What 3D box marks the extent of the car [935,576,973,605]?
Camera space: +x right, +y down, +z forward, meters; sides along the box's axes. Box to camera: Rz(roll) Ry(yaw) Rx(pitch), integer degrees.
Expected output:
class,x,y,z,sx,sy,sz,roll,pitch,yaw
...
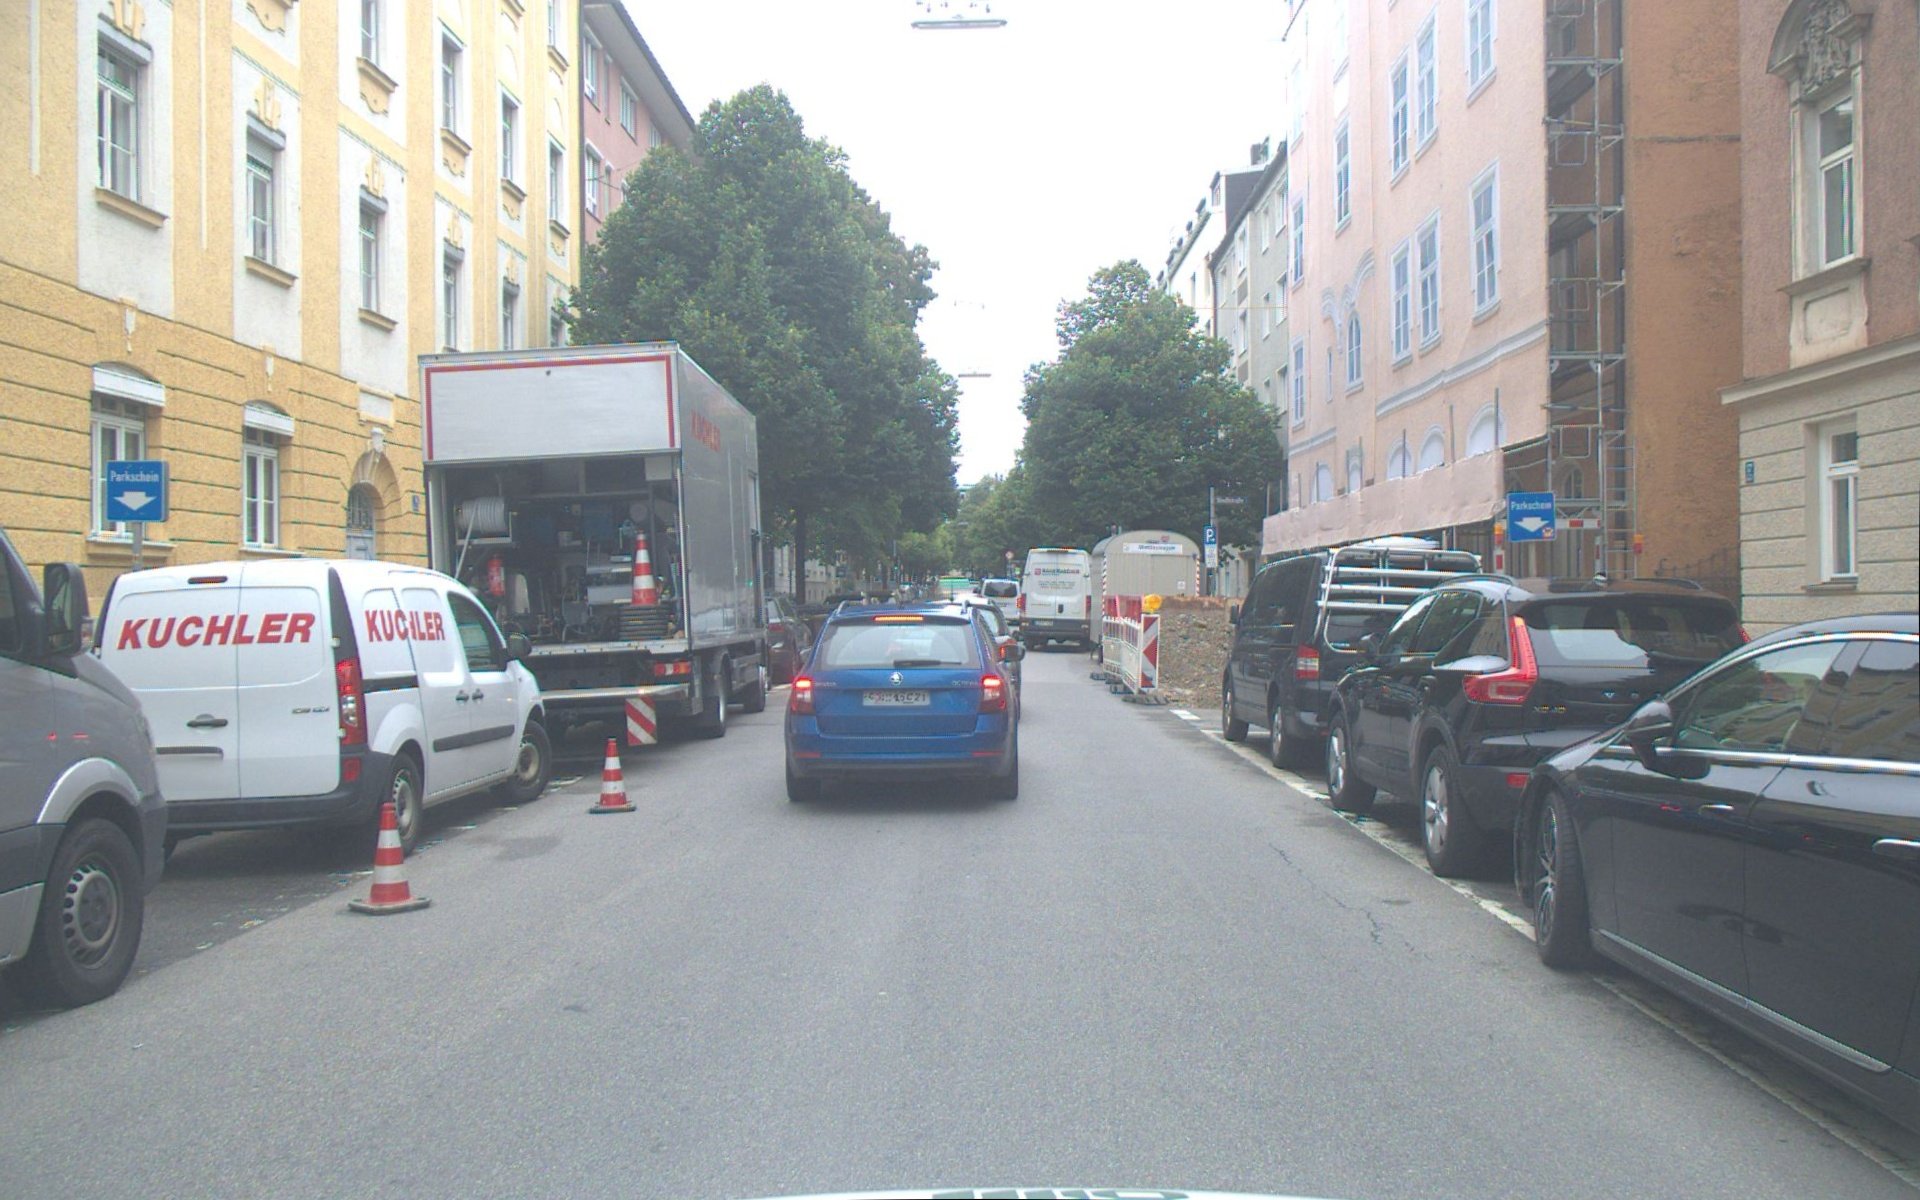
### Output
class,x,y,z,sx,sy,sz,roll,pitch,yaw
car,-0.400,-0.607,101.668,1.968,1.682,4.343,1,1,-4

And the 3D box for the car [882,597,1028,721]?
class,x,y,z,sx,sy,sz,roll,pitch,yaw
car,-0.008,0.688,21.193,1.705,1.446,3.664,0,0,1

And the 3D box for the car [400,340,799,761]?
class,x,y,z,sx,sy,sz,roll,pitch,yaw
car,-3.774,-0.458,19.733,2.755,3.884,8.723,-1,0,0

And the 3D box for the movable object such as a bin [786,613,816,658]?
class,x,y,z,sx,sy,sz,roll,pitch,yaw
movable object such as a bin,-4.207,0.937,43.744,0.706,1.158,0.658,-2,0,-3

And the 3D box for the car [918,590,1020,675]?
class,x,y,z,sx,sy,sz,roll,pitch,yaw
car,0.160,0.574,32.206,1.829,1.479,4.347,1,1,0

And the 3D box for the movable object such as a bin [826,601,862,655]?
class,x,y,z,sx,sy,sz,roll,pitch,yaw
movable object such as a bin,-3.142,0.751,44.710,0.900,1.400,1.079,-2,0,-3

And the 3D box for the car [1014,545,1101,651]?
class,x,y,z,sx,sy,sz,roll,pitch,yaw
car,2.783,-0.035,45.883,2.068,2.710,5.504,1,0,6

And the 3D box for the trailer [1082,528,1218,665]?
class,x,y,z,sx,sy,sz,roll,pitch,yaw
trailer,4.309,-0.052,38.780,2.451,2.889,6.901,1,0,1

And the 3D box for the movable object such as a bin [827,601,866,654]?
class,x,y,z,sx,sy,sz,roll,pitch,yaw
movable object such as a bin,-3.141,0.762,45.808,1.000,1.400,1.103,-2,0,-3

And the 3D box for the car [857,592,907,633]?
class,x,y,z,sx,sy,sz,roll,pitch,yaw
car,-2.962,0.457,63.263,1.775,1.504,3.999,0,0,-1

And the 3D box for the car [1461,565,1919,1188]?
class,x,y,z,sx,sy,sz,roll,pitch,yaw
car,3.383,0.701,5.209,1.891,1.580,5.636,0,0,0

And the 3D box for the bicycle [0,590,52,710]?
class,x,y,z,sx,sy,sz,roll,pitch,yaw
bicycle,-9.274,0.466,15.455,0.595,1.123,1.766,0,0,0

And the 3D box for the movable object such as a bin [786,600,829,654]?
class,x,y,z,sx,sy,sz,roll,pitch,yaw
movable object such as a bin,-4.118,0.725,44.631,1.060,1.400,1.083,-2,0,-3

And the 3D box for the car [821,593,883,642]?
class,x,y,z,sx,sy,sz,roll,pitch,yaw
car,-3.389,0.525,52.532,1.775,1.504,3.999,0,0,-1

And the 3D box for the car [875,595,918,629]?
class,x,y,z,sx,sy,sz,roll,pitch,yaw
car,-2.861,0.517,75.305,1.775,1.504,4.000,0,0,1

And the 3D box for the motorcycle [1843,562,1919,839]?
class,x,y,z,sx,sy,sz,roll,pitch,yaw
motorcycle,5.724,0.557,8.989,0.853,1.531,1.998,0,0,3

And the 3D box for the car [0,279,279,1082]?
class,x,y,z,sx,sy,sz,roll,pitch,yaw
car,-4.176,0.314,3.964,2.014,2.632,6.877,-4,0,0

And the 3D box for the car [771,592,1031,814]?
class,x,y,z,sx,sy,sz,roll,pitch,yaw
car,-0.337,0.699,13.395,1.752,1.486,4.315,-1,0,2

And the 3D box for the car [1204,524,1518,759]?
class,x,y,z,sx,sy,sz,roll,pitch,yaw
car,3.789,0.451,16.612,2.039,1.955,5.141,1,-2,2

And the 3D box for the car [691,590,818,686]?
class,x,y,z,sx,sy,sz,roll,pitch,yaw
car,-3.816,0.668,31.400,1.748,1.657,4.186,-1,0,1

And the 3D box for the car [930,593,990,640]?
class,x,y,z,sx,sy,sz,roll,pitch,yaw
car,0.025,0.483,52.397,1.829,1.371,4.348,1,1,1

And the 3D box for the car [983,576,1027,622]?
class,x,y,z,sx,sy,sz,roll,pitch,yaw
car,1.919,-0.057,71.451,1.829,1.902,4.348,1,1,1

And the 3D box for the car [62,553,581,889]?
class,x,y,z,sx,sy,sz,roll,pitch,yaw
car,-4.059,0.674,11.386,1.726,1.810,4.327,-2,0,2

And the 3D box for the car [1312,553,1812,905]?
class,x,y,z,sx,sy,sz,roll,pitch,yaw
car,3.519,0.663,10.590,1.658,1.706,4.408,3,0,2

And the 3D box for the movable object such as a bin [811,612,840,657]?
class,x,y,z,sx,sy,sz,roll,pitch,yaw
movable object such as a bin,-3.553,0.909,43.796,0.697,1.168,0.636,-2,0,-3

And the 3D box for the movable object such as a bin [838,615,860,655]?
class,x,y,z,sx,sy,sz,roll,pitch,yaw
movable object such as a bin,-2.947,0.925,43.855,0.535,1.038,0.636,-2,0,-3
